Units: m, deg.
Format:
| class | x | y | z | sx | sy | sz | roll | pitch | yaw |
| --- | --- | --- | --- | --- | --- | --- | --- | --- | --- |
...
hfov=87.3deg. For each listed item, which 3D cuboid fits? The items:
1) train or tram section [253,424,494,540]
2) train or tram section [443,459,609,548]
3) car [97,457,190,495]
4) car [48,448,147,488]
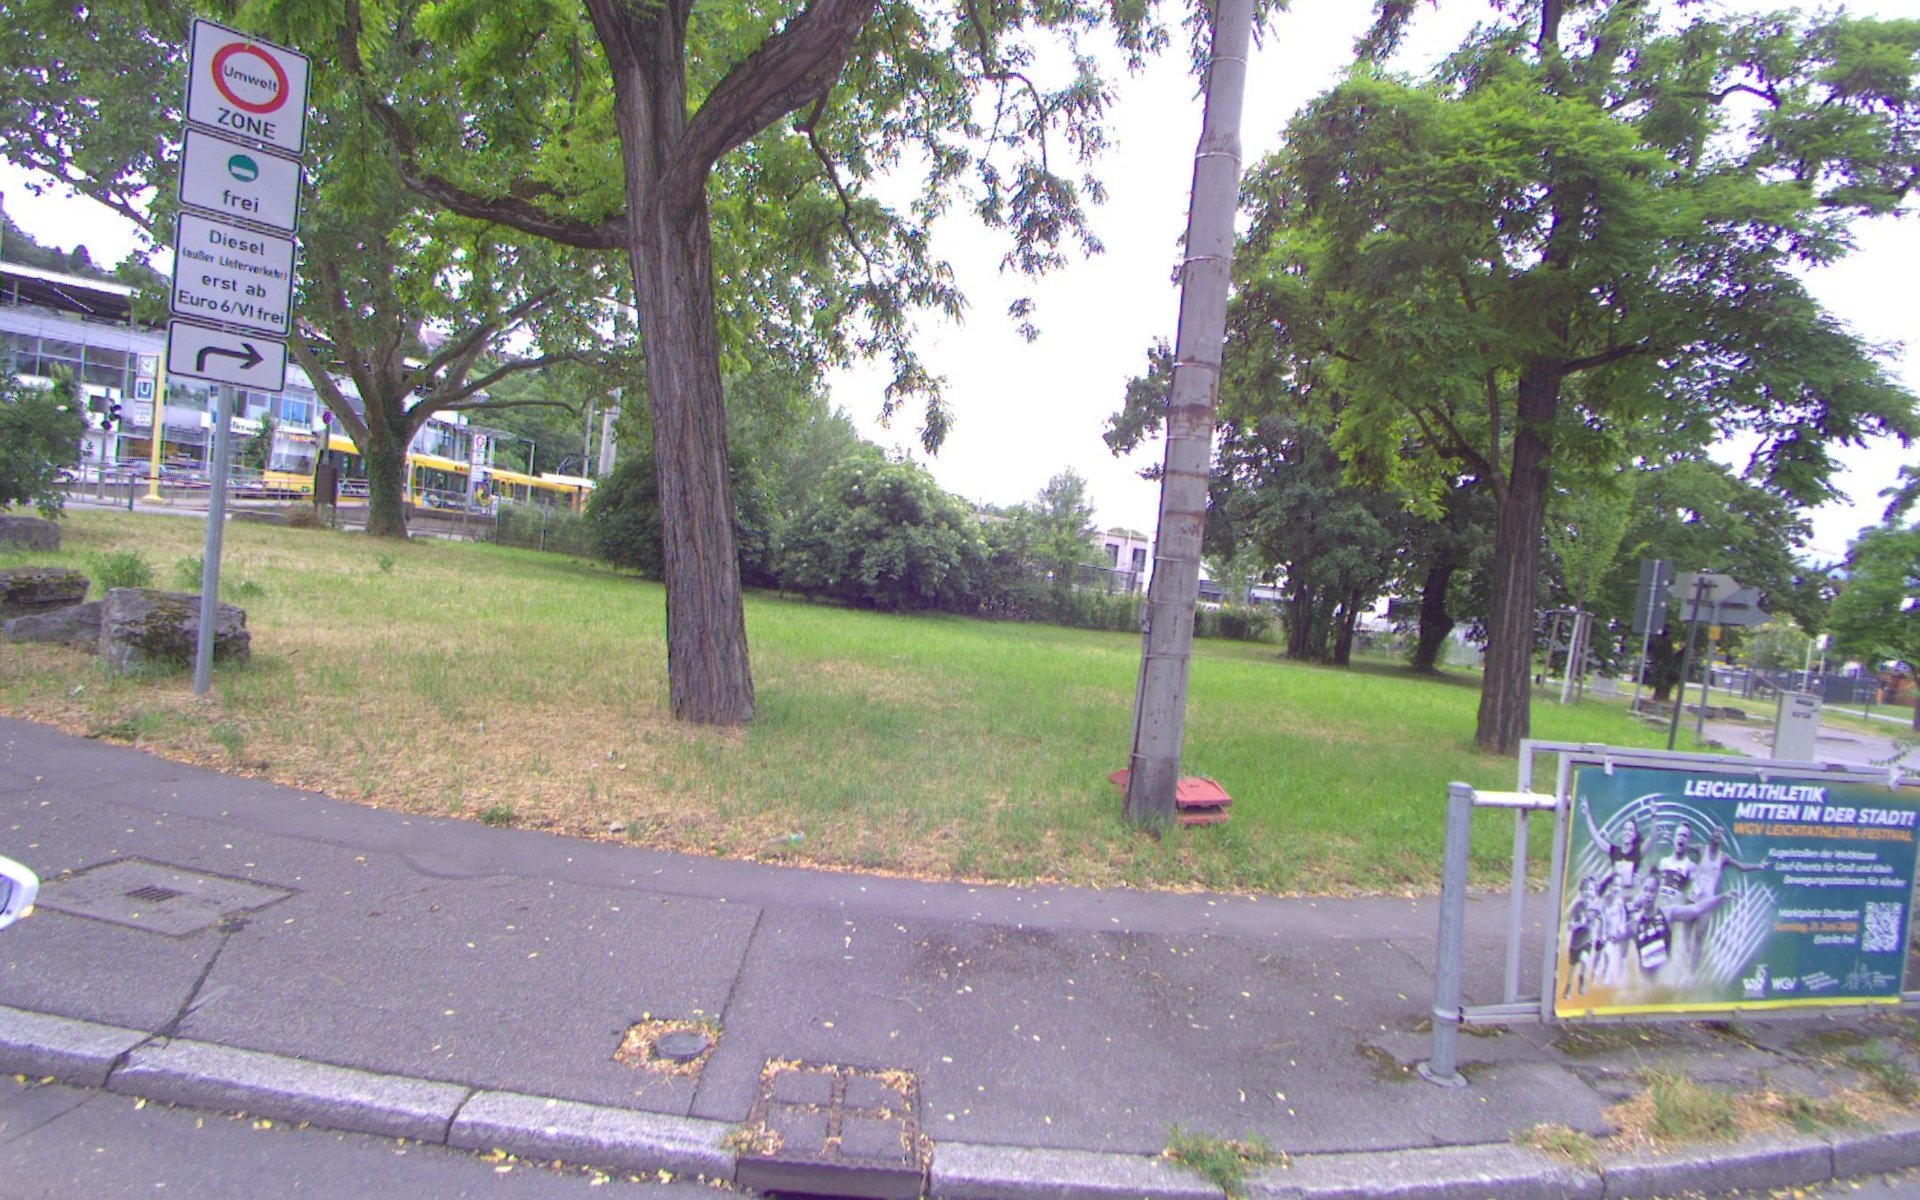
| class | x | y | z | sx | sy | sz | roll | pitch | yaw |
| --- | --- | --- | --- | --- | --- | --- | --- | --- | --- |
| train or tram section | -27.057 | -5.247 | 47.548 | 2.697 | 4.019 | 11.904 | 7 | 2 | 9 |
| train or tram section | -25.150 | -5.452 | 59.347 | 2.697 | 4.019 | 11.904 | 7 | 2 | 9 |
| car | -48.104 | -7.279 | 59.289 | 3.924 | 1.575 | 1.926 | 7 | 3 | 4 |
| car | -48.497 | -7.414 | 56.603 | 3.924 | 1.575 | 1.926 | 7 | 3 | 4 |
